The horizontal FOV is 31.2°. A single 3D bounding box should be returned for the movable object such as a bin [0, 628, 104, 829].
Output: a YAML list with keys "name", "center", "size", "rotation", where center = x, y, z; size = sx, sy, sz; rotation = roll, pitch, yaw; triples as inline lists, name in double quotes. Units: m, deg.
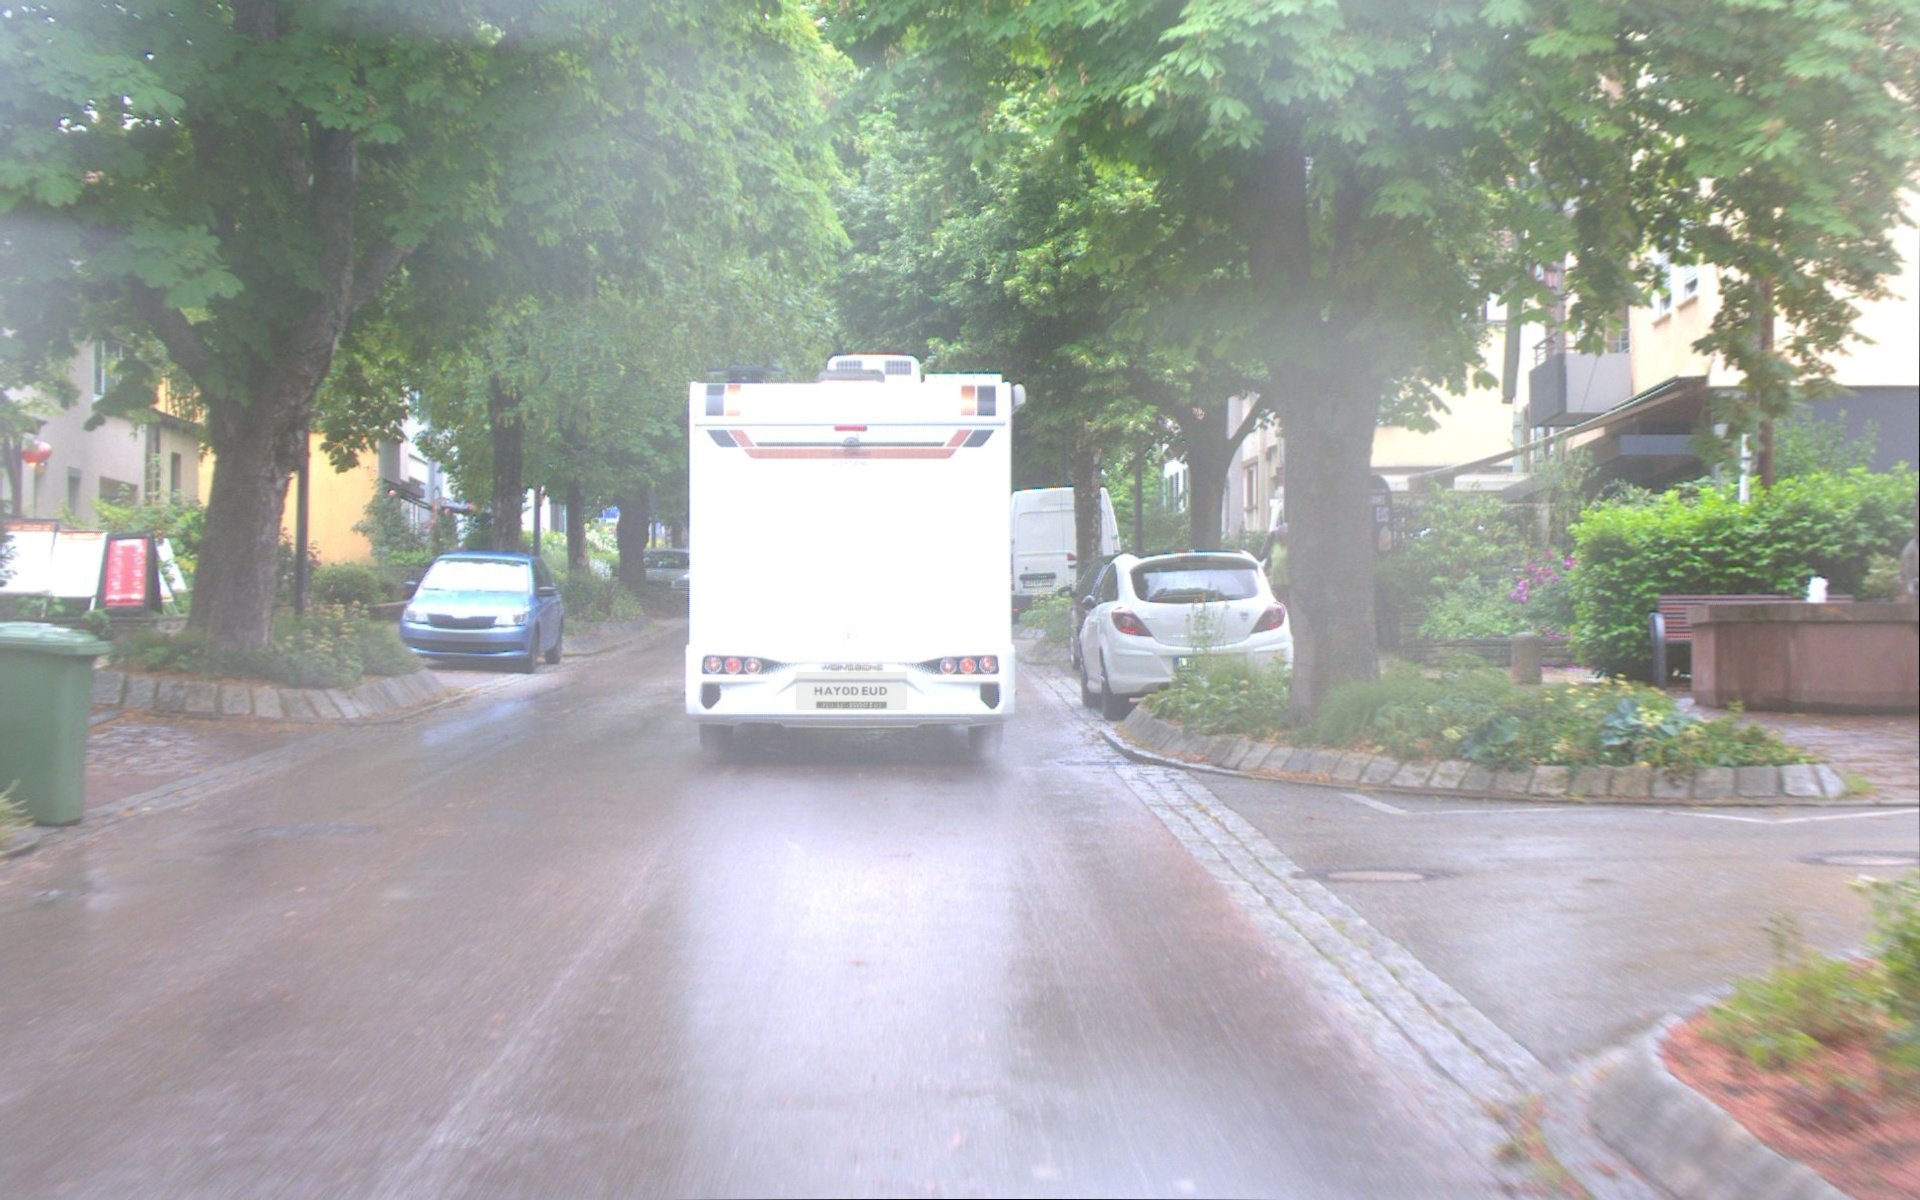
- name: "movable object such as a bin"
  center: [-5.087, 0.692, 18.733]
  size: [0.663, 1.070, 0.596]
  rotation: [0, 0, 4]

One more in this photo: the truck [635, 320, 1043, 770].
- name: "truck"
  center: [-0.849, -0.406, 26.117]
  size: [2.694, 2.975, 6.237]
  rotation: [1, 1, -1]

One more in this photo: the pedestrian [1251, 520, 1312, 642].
- name: "pedestrian"
  center: [4.584, -0.277, 48.933]
  size: [0.767, 1.725, 0.492]
  rotation: [1, 1, 18]

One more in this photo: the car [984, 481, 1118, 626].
- name: "car"
  center: [1.575, -0.832, 61.693]
  size: [2.141, 2.451, 5.435]
  rotation: [1, 1, -1]

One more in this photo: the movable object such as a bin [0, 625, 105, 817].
- name: "movable object such as a bin"
  center: [-5.273, 0.680, 19.508]
  size: [0.663, 1.064, 0.596]
  rotation: [0, 0, 4]

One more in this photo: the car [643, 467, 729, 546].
- name: "car"
  center: [-7.232, -2.452, 90.996]
  size: [1.993, 2.007, 4.000]
  rotation: [1, 1, -1]

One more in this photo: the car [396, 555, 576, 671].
- name: "car"
  center: [-5.960, 0.136, 43.564]
  size: [1.749, 1.391, 3.796]
  rotation: [1, 1, 0]

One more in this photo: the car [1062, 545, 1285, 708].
- name: "car"
  center: [1.893, 0.205, 31.457]
  size: [1.680, 1.395, 3.795]
  rotation: [0, 1, -2]

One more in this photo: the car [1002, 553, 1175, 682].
- name: "car"
  center: [1.470, 0.170, 40.558]
  size: [1.808, 1.406, 3.784]
  rotation: [1, 1, -1]

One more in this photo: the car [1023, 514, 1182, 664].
- name: "car"
  center: [1.954, -0.176, 48.342]
  size: [1.993, 2.007, 4.000]
  rotation: [1, 1, -1]

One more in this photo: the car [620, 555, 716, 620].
- name: "car"
  center: [-6.798, -0.314, 80.455]
  size: [1.772, 1.384, 4.545]
  rotation: [2, 1, 0]

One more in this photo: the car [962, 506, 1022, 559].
- name: "car"
  center: [1.075, -2.330, 118.441]
  size: [1.914, 1.786, 4.489]
  rotation: [1, 1, -1]
